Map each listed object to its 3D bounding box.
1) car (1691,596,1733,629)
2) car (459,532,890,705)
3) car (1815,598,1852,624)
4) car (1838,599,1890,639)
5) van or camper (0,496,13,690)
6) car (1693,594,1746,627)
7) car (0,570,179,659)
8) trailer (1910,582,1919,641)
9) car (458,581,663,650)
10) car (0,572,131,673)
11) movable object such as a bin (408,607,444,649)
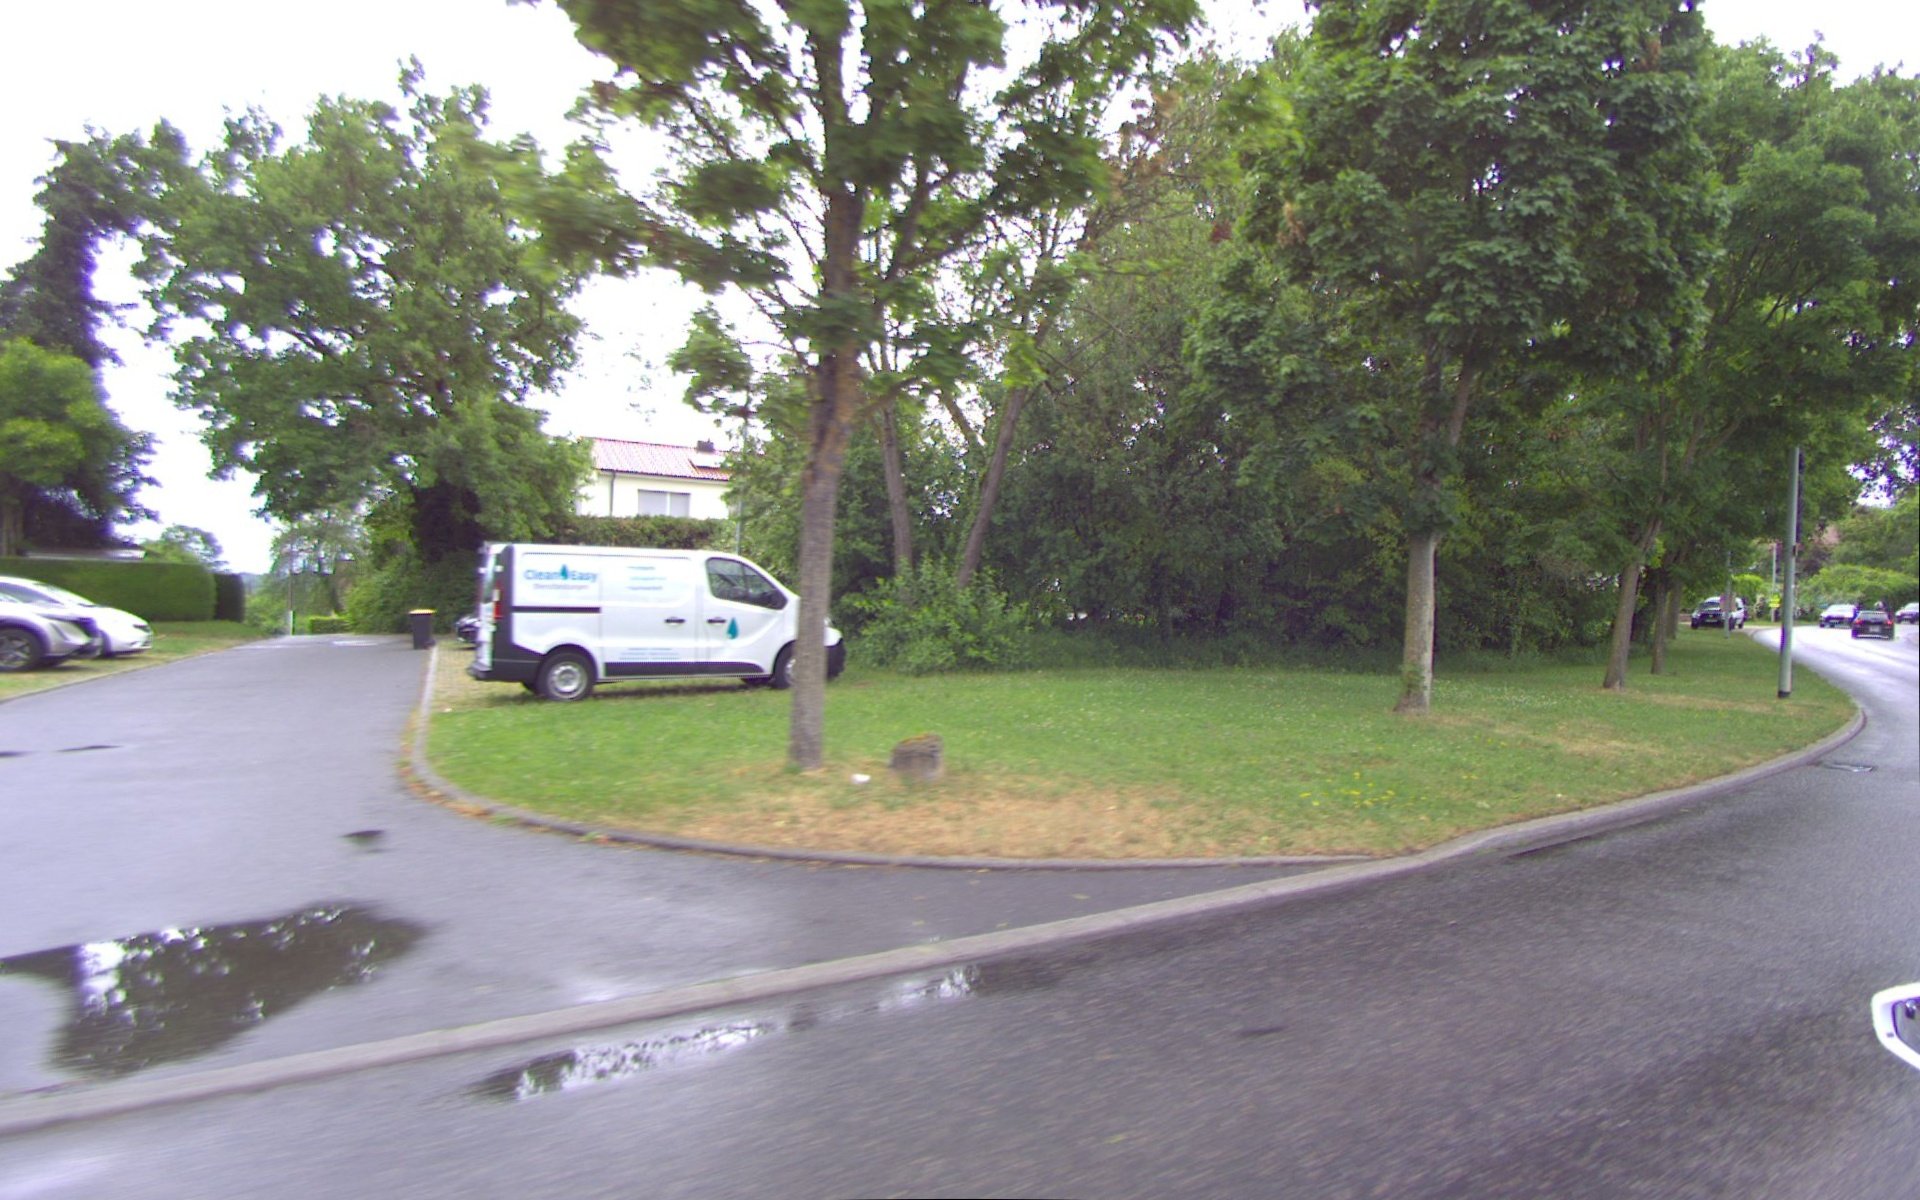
[{"bbox_3d":[42.153,0.680,56.272,1.728,1.662,4.573,5,2,38],"label":"car"},{"bbox_3d":[-3.881,0.166,14.025,5.411,2.013,2.116,-1,0,-31],"label":"car"},{"bbox_3d":[59.887,0.721,68.899,1.768,1.558,4.072,5,4,40],"label":"car"},{"bbox_3d":[50.343,1.043,55.993,1.879,2.041,3.925,5,3,40],"label":"car"},{"bbox_3d":[-14.405,-0.198,10.011,6.726,2.392,2.375,2,-1,-28],"label":"van or camper"},{"bbox_3d":[45.556,0.641,60.234,4.342,1.820,1.781,0,3,-44],"label":"car"},{"bbox_3d":[-18.161,0.242,19.564,4.296,1.602,1.846,3,0,-27],"label":"car"},{"bbox_3d":[47.538,0.502,48.422,1.970,2.845,5.582,-4,-3,39],"label":"trailer"},{"bbox_3d":[-9.862,0.319,24.879,4.428,1.530,2.116,-1,1,-31],"label":"car"},{"bbox_3d":[-16.934,0.271,16.361,4.942,1.557,1.783,4,-1,-28],"label":"car"},{"bbox_3d":[-12.891,0.666,24.230,0.746,0.988,0.540,0,1,-30],"label":"movable object such as a bin"}]
